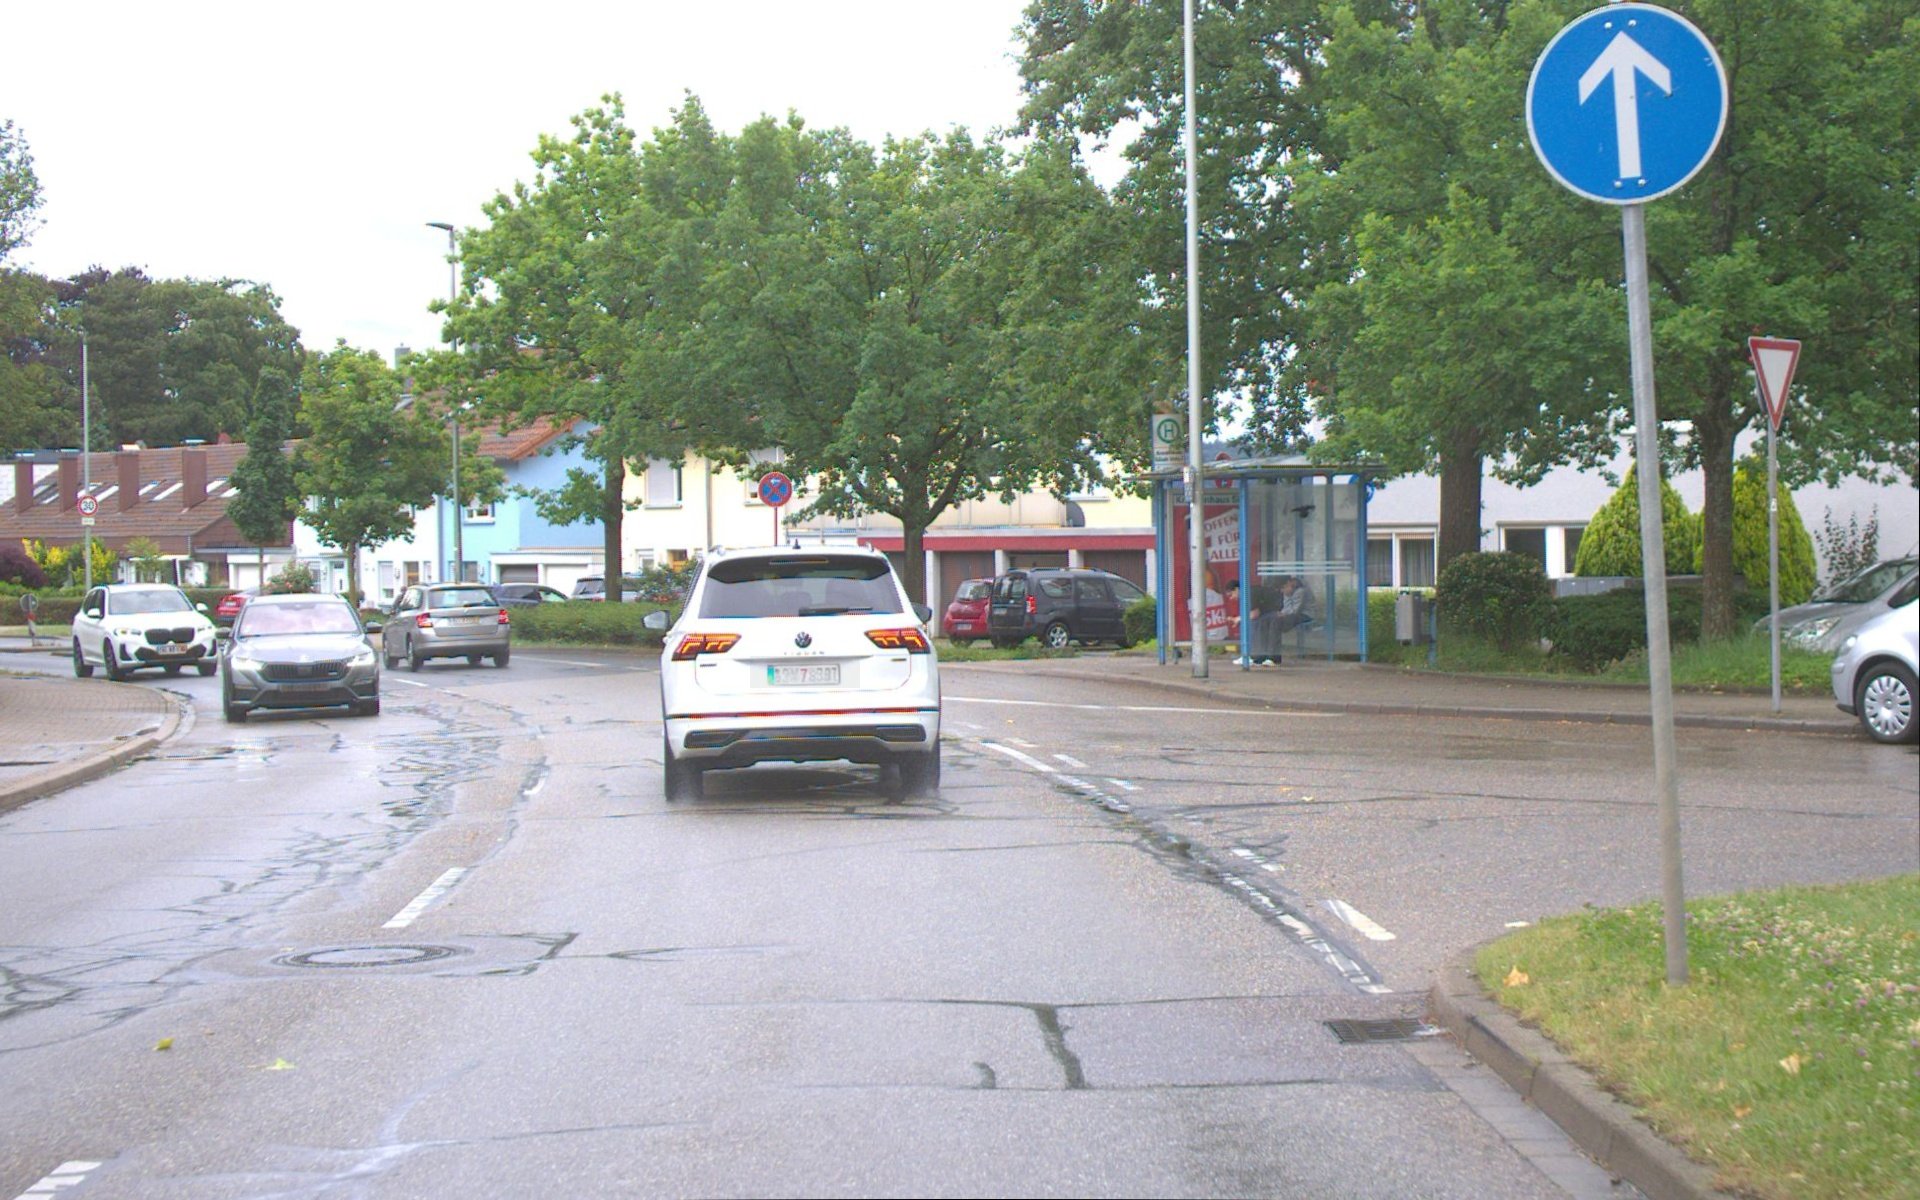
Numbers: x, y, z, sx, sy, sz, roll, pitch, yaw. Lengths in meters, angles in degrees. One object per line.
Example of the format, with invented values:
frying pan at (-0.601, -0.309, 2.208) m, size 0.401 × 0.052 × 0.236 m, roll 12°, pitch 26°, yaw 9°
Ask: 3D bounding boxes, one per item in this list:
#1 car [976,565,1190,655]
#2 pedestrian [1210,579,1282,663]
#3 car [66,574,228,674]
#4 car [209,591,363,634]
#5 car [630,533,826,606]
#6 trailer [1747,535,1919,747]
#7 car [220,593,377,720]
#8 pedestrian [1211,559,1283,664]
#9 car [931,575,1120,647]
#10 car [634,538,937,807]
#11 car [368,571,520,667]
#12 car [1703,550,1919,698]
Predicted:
car at (2.505, 0.188, 69.632) m, size 3.988 × 1.715 × 1.924 m, roll -1°, pitch 0°, yaw -37°
pedestrian at (3.487, 0.254, 41.901) m, size 0.748 × 1.008 × 0.551 m, roll -1°, pitch 0°, yaw -10°
car at (-14.640, 0.391, 61.695) m, size 1.890 × 1.606 × 4.866 m, roll -3°, pitch 2°, yaw -24°
car at (-20.069, 0.378, 102.464) m, size 1.678 × 1.256 × 4.306 m, roll 1°, pitch 0°, yaw 44°
car at (-5.484, -0.731, 81.342) m, size 4.180 × 1.666 × 1.991 m, roll -1°, pitch 1°, yaw -35°
trailer at (8.089, 0.274, 24.935) m, size 1.994 × 1.537 × 4.425 m, roll -1°, pitch 1°, yaw -35°
car at (-8.009, 0.636, 41.405) m, size 1.740 × 1.410 × 4.143 m, roll -1°, pitch 0°, yaw -12°
pedestrian at (3.425, 0.134, 41.048) m, size 0.726 × 1.246 × 0.551 m, roll -1°, pitch 0°, yaw -10°
car at (1.384, 0.219, 72.139) m, size 3.693 × 1.437 × 1.706 m, roll -1°, pitch 0°, yaw -37°
car at (-1.128, 0.434, 23.654) m, size 1.865 × 1.645 × 4.000 m, roll -1°, pitch 1°, yaw -1°
car at (-8.790, 0.305, 58.370) m, size 1.768 × 1.546 × 4.001 m, roll -1°, pitch 0°, yaw -20°
car at (9.847, 0.221, 35.968) m, size 3.645 × 1.481 × 1.760 m, roll -1°, pitch 0°, yaw -12°
